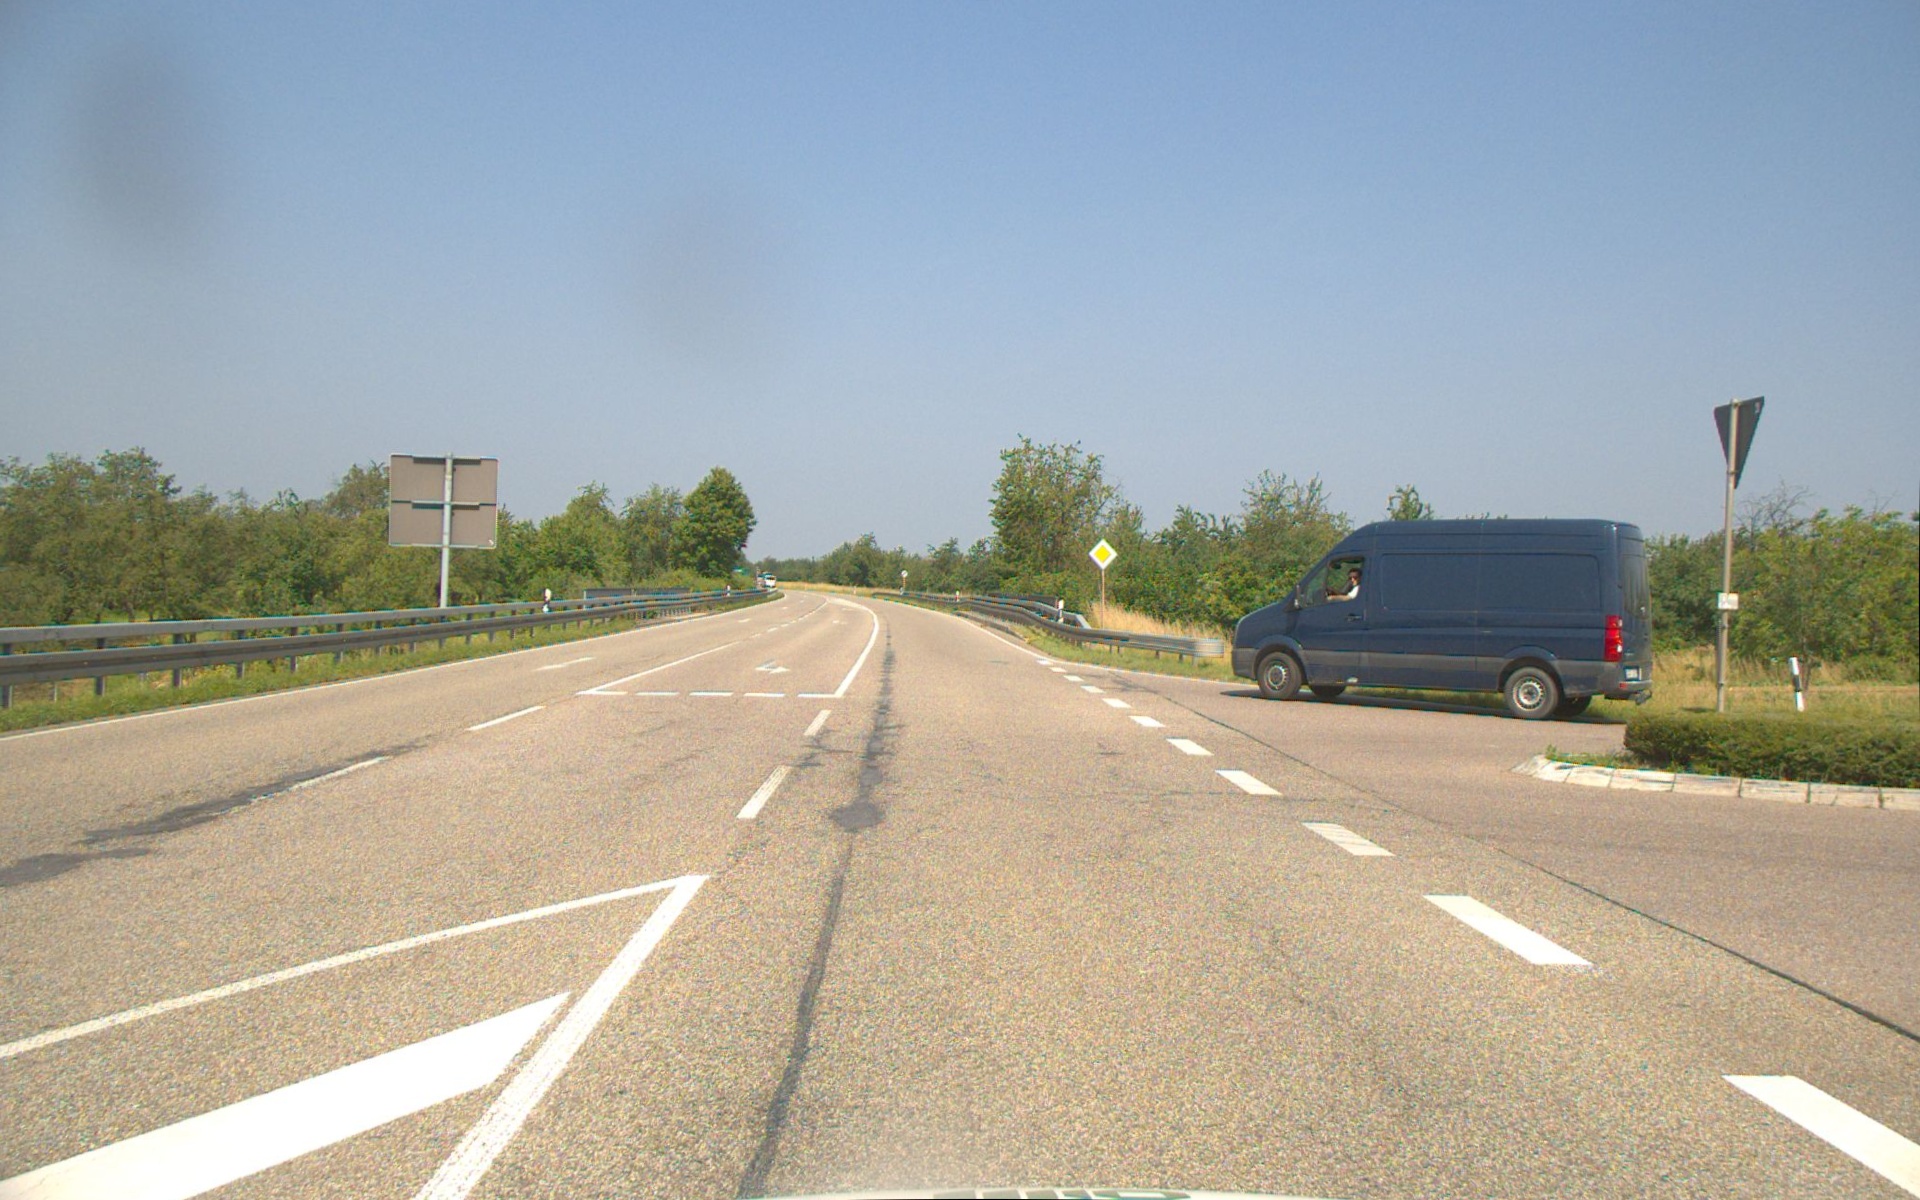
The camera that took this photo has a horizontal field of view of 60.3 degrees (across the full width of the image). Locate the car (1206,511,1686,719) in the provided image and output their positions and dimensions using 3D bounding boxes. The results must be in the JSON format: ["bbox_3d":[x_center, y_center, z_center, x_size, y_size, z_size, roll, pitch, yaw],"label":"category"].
[{"bbox_3d":[6.758,0.120,23.464,6.184,2.620,2.055,2,0,35],"label":"car"}]
